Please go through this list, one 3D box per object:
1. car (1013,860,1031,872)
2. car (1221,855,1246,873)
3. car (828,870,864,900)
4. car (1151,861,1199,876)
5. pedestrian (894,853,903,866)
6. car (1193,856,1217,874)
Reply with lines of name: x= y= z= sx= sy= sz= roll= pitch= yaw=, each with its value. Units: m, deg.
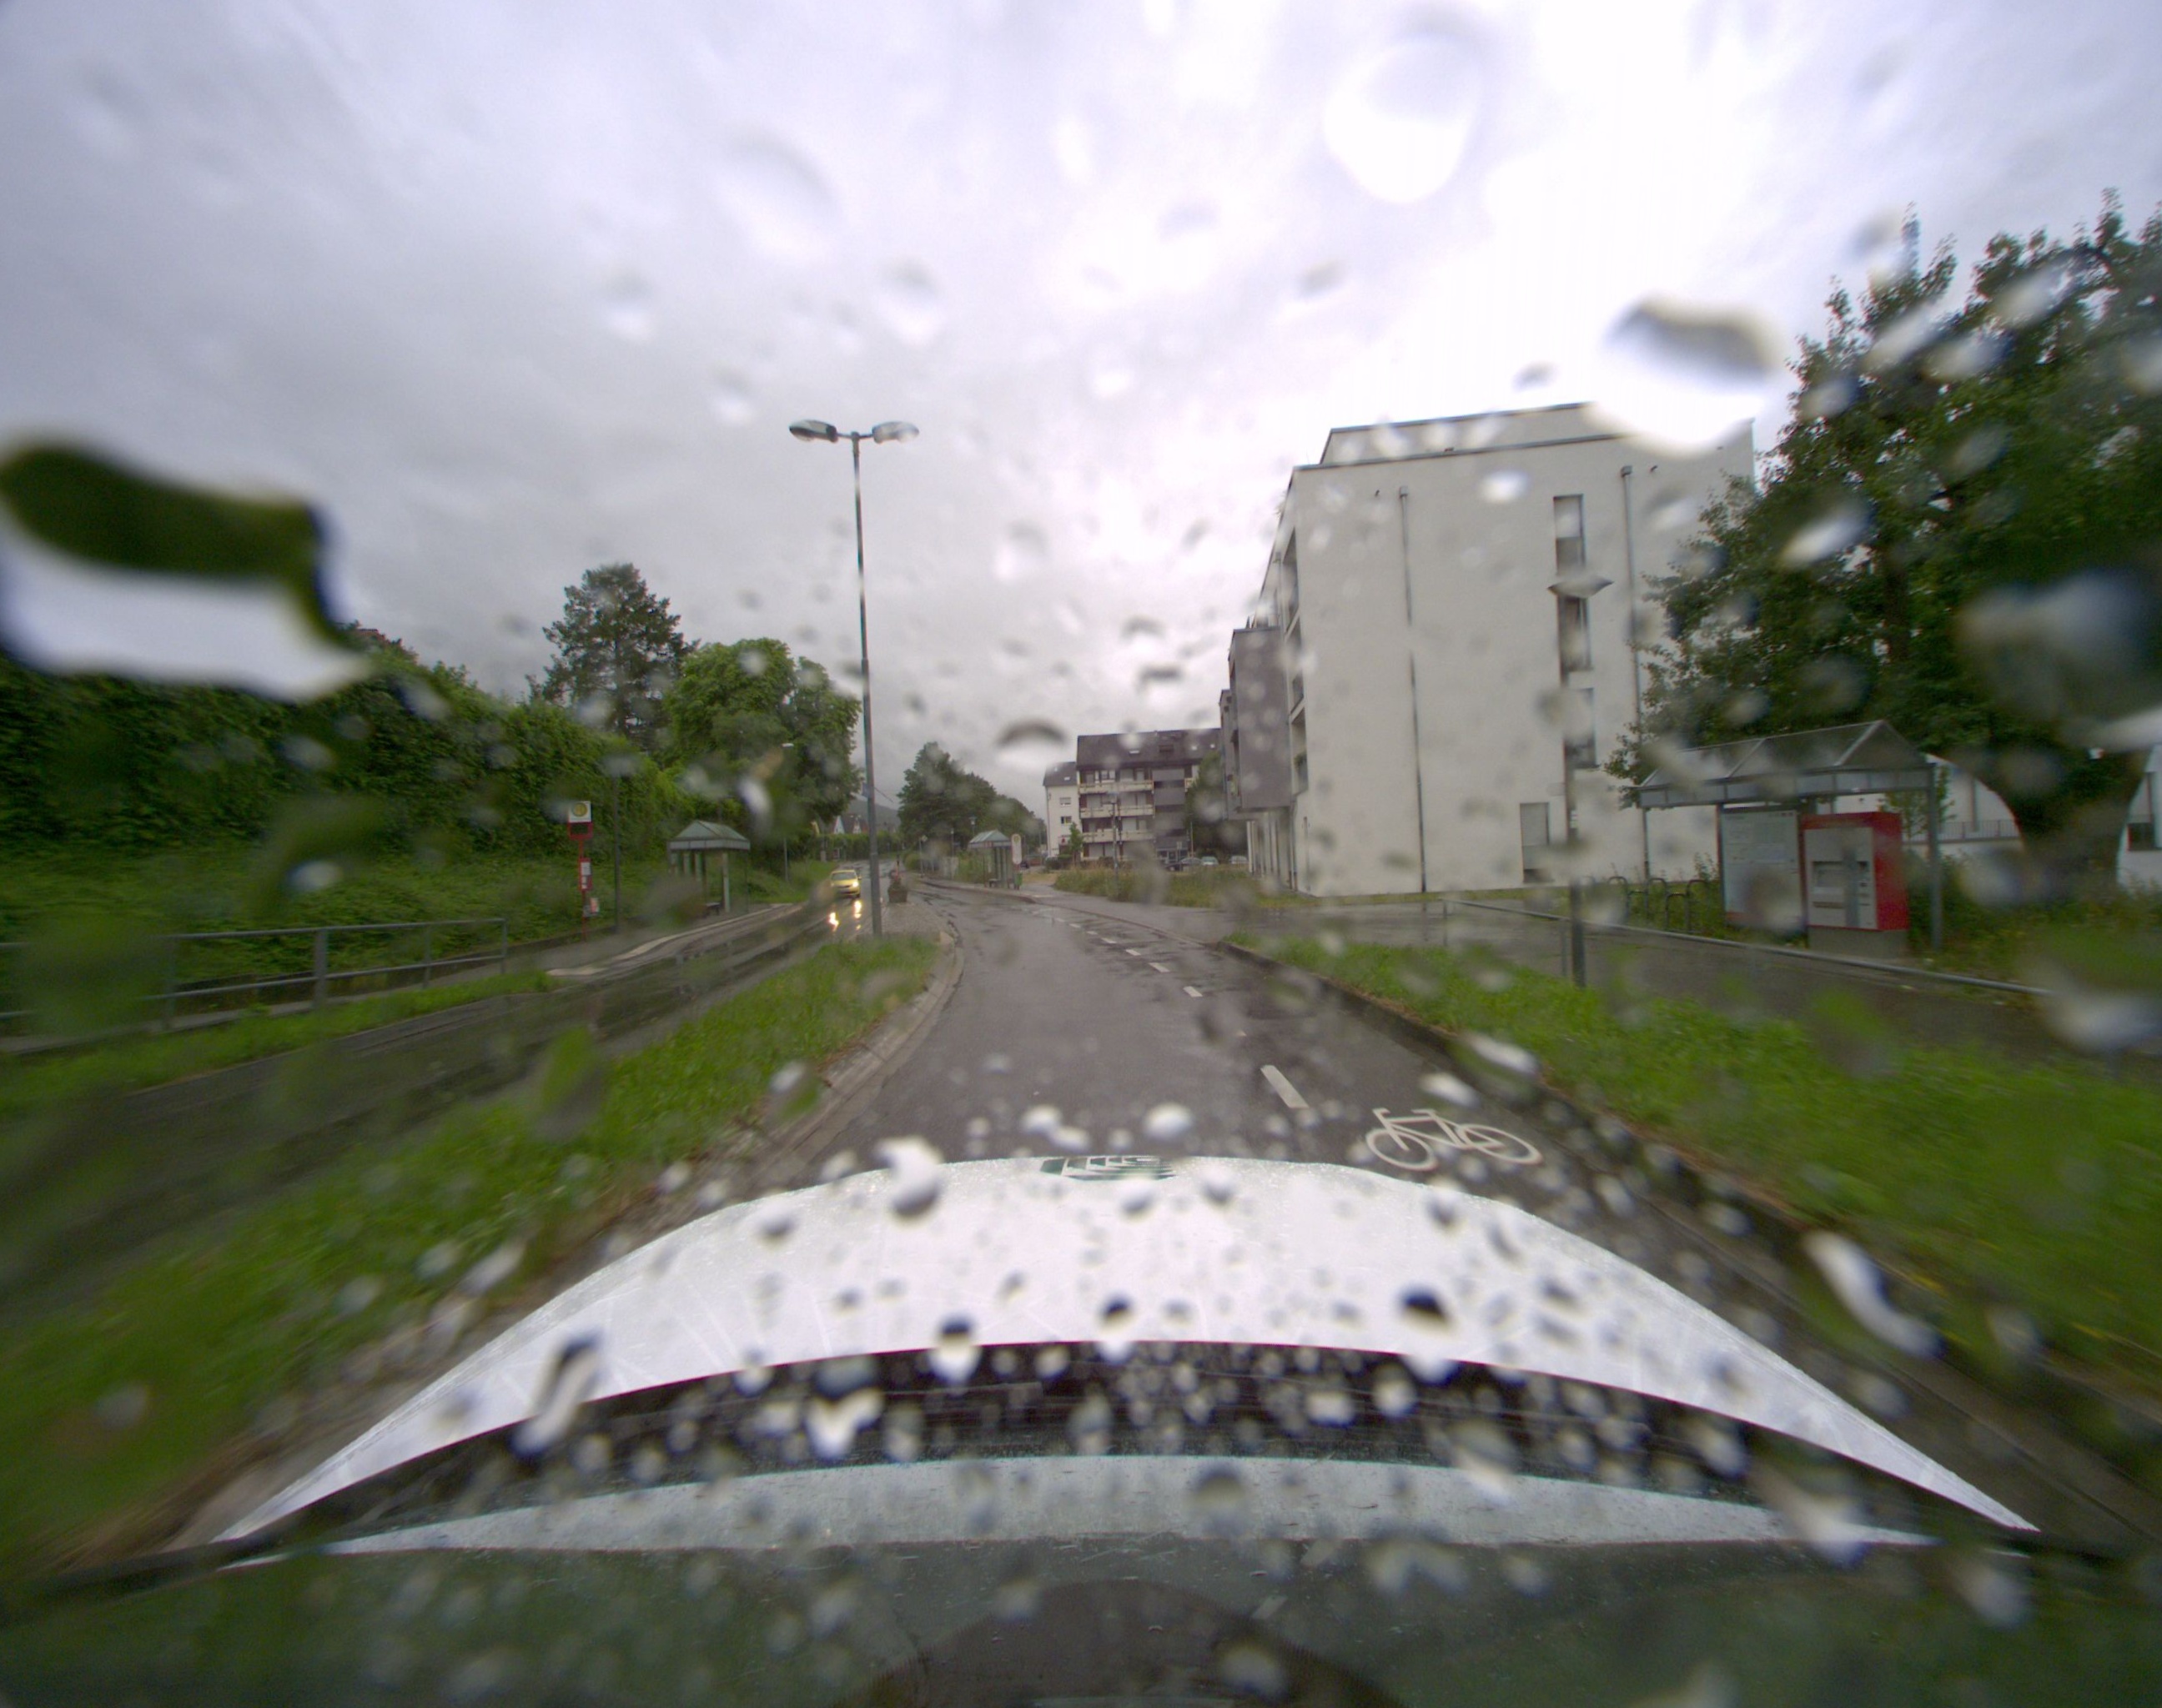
car: x=-7.867 y=1.602 z=107.779 sx=1.691 sy=1.438 sz=3.594 roll=-2 pitch=1 yaw=-14
car: x=13.492 y=0.895 z=72.267 sx=1.709 sy=1.441 sz=3.709 roll=-2 pitch=-2 yaw=3
car: x=-12.626 y=1.632 z=43.947 sx=1.574 sy=1.410 sz=3.458 roll=-4 pitch=0 yaw=-13
car: x=9.196 y=1.426 z=79.797 sx=4.581 sy=1.387 sz=1.948 roll=-1 pitch=0 yaw=2
pedestrian: x=-23.725 y=0.729 z=105.826 sx=0.921 sy=1.675 sz=1.052 roll=-4 pitch=2 yaw=-14
car: x=11.053 y=0.964 z=72.635 sx=1.709 sy=1.441 sz=3.709 roll=-2 pitch=-2 yaw=3
